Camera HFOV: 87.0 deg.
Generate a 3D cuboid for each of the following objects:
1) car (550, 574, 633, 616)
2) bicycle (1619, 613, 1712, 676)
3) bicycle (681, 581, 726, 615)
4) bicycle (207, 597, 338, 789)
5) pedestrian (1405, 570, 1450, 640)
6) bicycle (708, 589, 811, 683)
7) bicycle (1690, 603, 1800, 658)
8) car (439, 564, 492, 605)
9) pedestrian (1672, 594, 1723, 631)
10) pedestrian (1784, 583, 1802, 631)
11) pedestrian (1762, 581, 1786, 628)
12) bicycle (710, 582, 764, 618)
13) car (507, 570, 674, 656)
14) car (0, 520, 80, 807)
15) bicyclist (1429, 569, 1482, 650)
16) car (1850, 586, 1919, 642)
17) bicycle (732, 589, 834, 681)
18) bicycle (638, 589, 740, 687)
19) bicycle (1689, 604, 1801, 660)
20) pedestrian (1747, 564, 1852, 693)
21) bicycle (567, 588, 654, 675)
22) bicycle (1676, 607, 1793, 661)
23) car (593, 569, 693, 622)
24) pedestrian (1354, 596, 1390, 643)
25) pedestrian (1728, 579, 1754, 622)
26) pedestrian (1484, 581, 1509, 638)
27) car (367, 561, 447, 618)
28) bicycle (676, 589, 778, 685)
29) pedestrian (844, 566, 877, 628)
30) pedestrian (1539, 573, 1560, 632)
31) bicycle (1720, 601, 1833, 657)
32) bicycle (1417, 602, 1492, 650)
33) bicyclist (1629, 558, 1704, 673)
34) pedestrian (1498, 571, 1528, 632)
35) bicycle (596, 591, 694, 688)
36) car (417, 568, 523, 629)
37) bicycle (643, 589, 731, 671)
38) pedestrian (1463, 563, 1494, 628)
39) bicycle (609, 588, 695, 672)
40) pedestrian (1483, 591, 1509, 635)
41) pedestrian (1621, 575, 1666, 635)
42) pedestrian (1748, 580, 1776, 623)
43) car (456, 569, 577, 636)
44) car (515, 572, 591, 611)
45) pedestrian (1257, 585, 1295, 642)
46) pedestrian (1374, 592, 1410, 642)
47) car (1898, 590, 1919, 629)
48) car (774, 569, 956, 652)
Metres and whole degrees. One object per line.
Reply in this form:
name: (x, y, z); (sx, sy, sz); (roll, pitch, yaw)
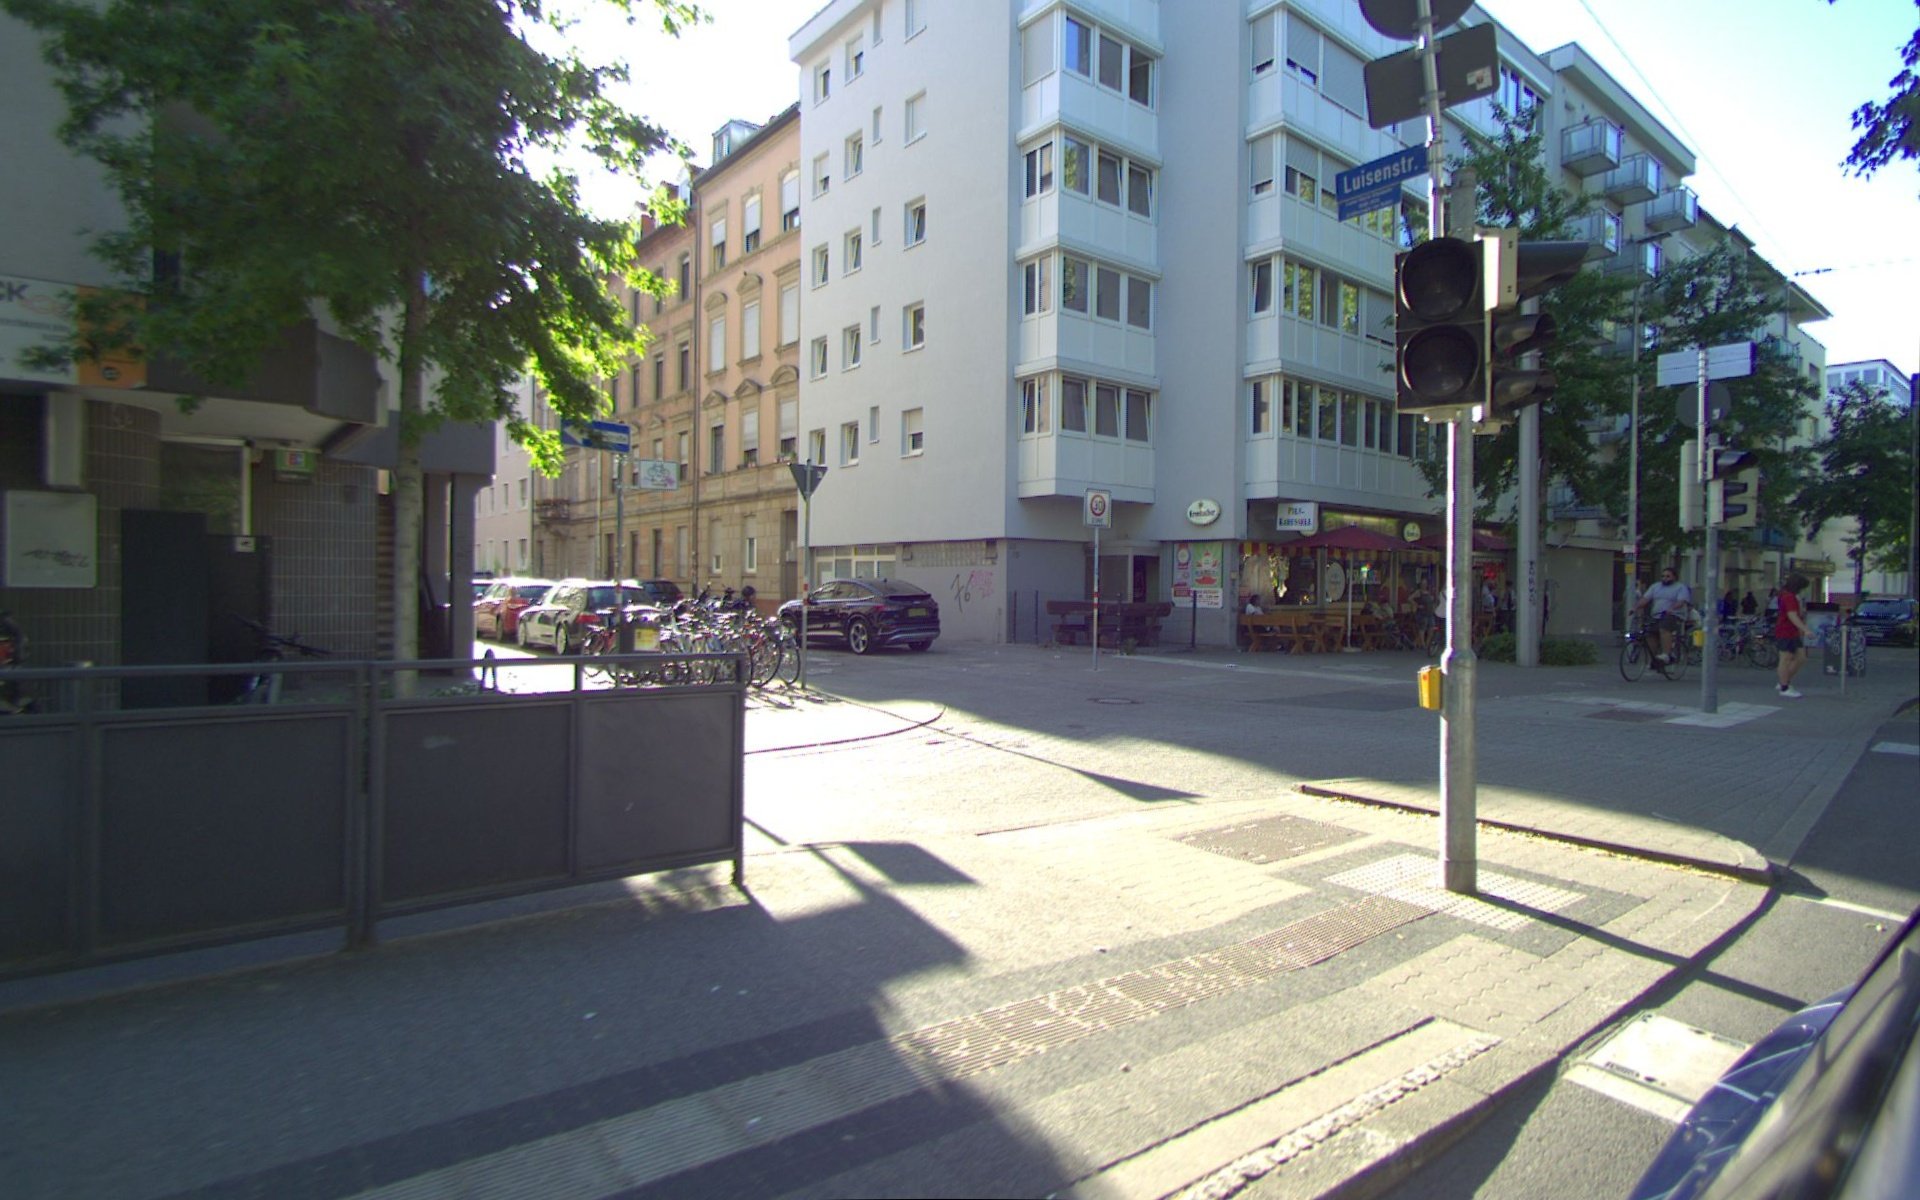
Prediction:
car: (-13.337, -0.199, 36.484); (1.829, 1.436, 4.000); (-1, 1, -35)
bicycle: (11.828, 0.722, 16.954); (1.904, 0.949, 0.790); (-1, 0, -39)
bicycle: (-9.000, -0.078, 35.474); (0.606, 1.134, 2.386); (0, 0, -39)
bicycle: (-5.046, 0.590, 7.528); (0.667, 1.202, 2.135); (0, 0, -31)
pedestrian: (11.540, 0.113, 25.005); (0.665, 1.680, 0.815); (0, 0, -7)
bicycle: (-2.894, 0.477, 14.490); (0.502, 1.223, 1.917); (2, 1, -42)
bicycle: (16.768, 0.636, 21.645); (1.815, 1.114, 0.474); (0, 0, 43)
car: (-24.494, -0.754, 50.077); (1.706, 1.971, 4.226); (0, 1, -35)
pedestrian: (21.350, 0.343, 29.308); (0.647, 1.040, 1.003); (0, 0, -9)
pedestrian: (32.939, 0.263, 40.008); (0.652, 1.875, 0.476); (0, 0, -42)
pedestrian: (32.459, 0.170, 40.360); (0.530, 1.875, 0.663); (0, 0, -40)
bicycle: (-7.400, -0.004, 33.479); (0.756, 1.134, 2.386); (0, 0, -39)
car: (-7.682, 0.215, 20.747); (1.836, 1.496, 4.598); (3, 0, -38)
car: (-7.579, 0.378, 5.316); (4.365, 1.636, 1.998); (-1, 1, -39)
bicyclist: (10.916, 0.202, 22.291); (0.947, 1.739, 0.679); (0, 0, -37)
car: (31.055, 0.415, 33.425); (4.252, 1.606, 1.763); (-1, 5, -40)
bicycle: (-2.609, 0.481, 14.773); (0.502, 1.223, 1.917); (2, 1, -42)
bicycle: (-3.732, 0.479, 13.823); (0.502, 1.223, 1.917); (1, 1, -42)
bicycle: (16.423, 0.653, 21.197); (1.815, 1.114, 0.490); (0, 0, 43)
pedestrian: (12.121, 0.380, 14.626); (0.863, 1.780, 1.046); (0, 0, -41)
bicycle: (-5.271, 0.442, 15.203); (0.502, 1.223, 1.916); (-1, 1, -42)
bicycle: (15.704, 0.669, 20.558); (0.473, 1.007, 1.818); (0, 0, -41)
car: (-10.153, -0.178, 32.253); (1.928, 1.575, 4.000); (-1, 2, -35)
pedestrian: (9.845, 0.456, 24.201); (0.513, 1.092, 0.643); (0, 0, -41)
pedestrian: (31.378, 0.019, 40.660); (0.918, 1.698, 0.597); (0, 3, -42)
pedestrian: (15.690, 0.269, 29.604); (0.500, 1.649, 0.516); (0, 0, 13)
car: (-19.047, -0.358, 34.810); (1.693, 1.838, 3.558); (-1, 1, -41)
bicycle: (-3.283, 0.481, 14.136); (0.502, 1.223, 1.917); (1, 1, -42)
pedestrian: (-2.588, -0.072, 26.304); (0.633, 1.581, 0.553); (-1, 1, -35)
pedestrian: (18.206, 0.080, 31.241); (0.481, 1.819, 0.432); (0, 0, -40)
bicycle: (17.482, 0.594, 21.705); (0.516, 1.114, 1.819); (0, 1, -39)
bicycle: (10.913, 0.555, 22.315); (1.985, 0.975, 0.679); (-1, 0, -37)
bicyclist: (11.843, 0.237, 16.967); (1.079, 1.854, 0.769); (0, 0, -39)
pedestrian: (16.930, 0.041, 30.999); (0.620, 1.828, 0.526); (0, 0, 4)
bicycle: (-4.268, 0.492, 13.622); (0.502, 1.223, 1.916); (0, 0, -42)
car: (-14.165, -0.066, 29.154); (1.804, 1.642, 4.067); (-1, 1, -40)
bicycle: (-4.354, 0.440, 16.063); (0.502, 1.223, 1.916); (2, -1, -42)
pedestrian: (15.972, -0.147, 31.155); (0.776, 1.979, 0.508); (0, 0, -30)
bicycle: (-4.792, 0.429, 15.647); (0.502, 1.223, 1.916); (0, 0, -42)
pedestrian: (15.718, 0.370, 29.690); (0.501, 1.292, 0.624); (0, 0, 14)
pedestrian: (20.850, 0.160, 30.881); (0.979, 1.806, 0.590); (0, 0, 11)
pedestrian: (31.816, 0.037, 40.147); (0.854, 1.658, 0.643); (0, 2, -41)
car: (-11.036, 0.043, 25.040); (1.677, 1.528, 3.994); (-1, 1, -40)
car: (-16.257, -0.356, 40.364); (1.962, 1.469, 4.000); (-1, 1, -35)
pedestrian: (7.370, 0.303, 23.626); (0.702, 1.303, 0.537); (0, 0, -38)
pedestrian: (10.519, 0.413, 24.657); (0.513, 1.190, 0.660); (0, 0, -41)
car: (39.241, 0.415, 40.866); (3.823, 1.500, 1.625); (0, 3, -42)
car: (-2.183, 0.169, 22.303); (1.933, 1.612, 4.257); (-2, 2, -40)
